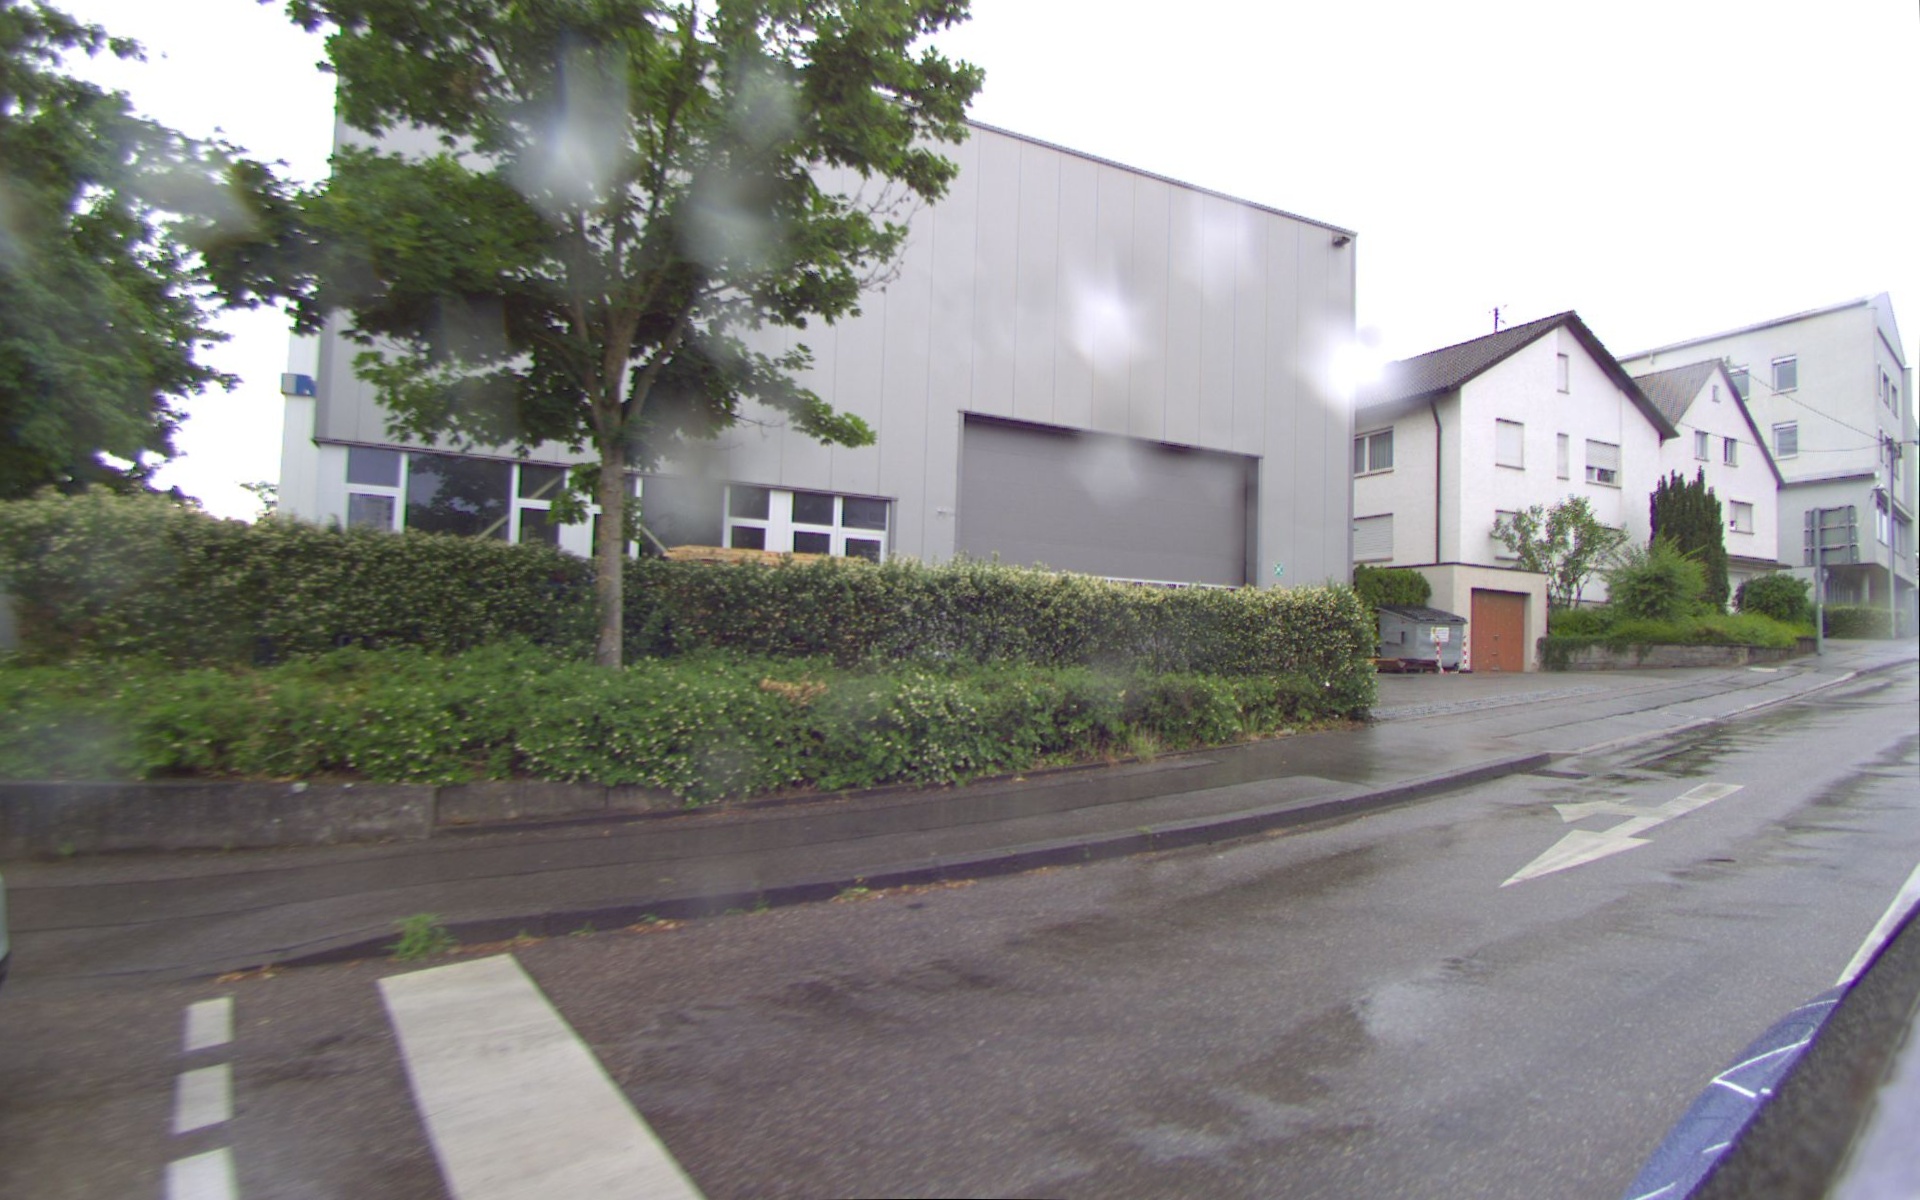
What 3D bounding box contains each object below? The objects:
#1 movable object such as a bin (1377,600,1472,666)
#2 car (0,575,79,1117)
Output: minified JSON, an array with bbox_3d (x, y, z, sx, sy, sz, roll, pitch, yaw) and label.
[{"bbox_3d":[11.313,0.786,24.684,1.556,1.555,1.451,1,-1,-25],"label":"movable object such as a bin"},{"bbox_3d":[-4.424,0.677,1.869,3.824,1.574,1.698,1,-1,-19],"label":"car"}]
